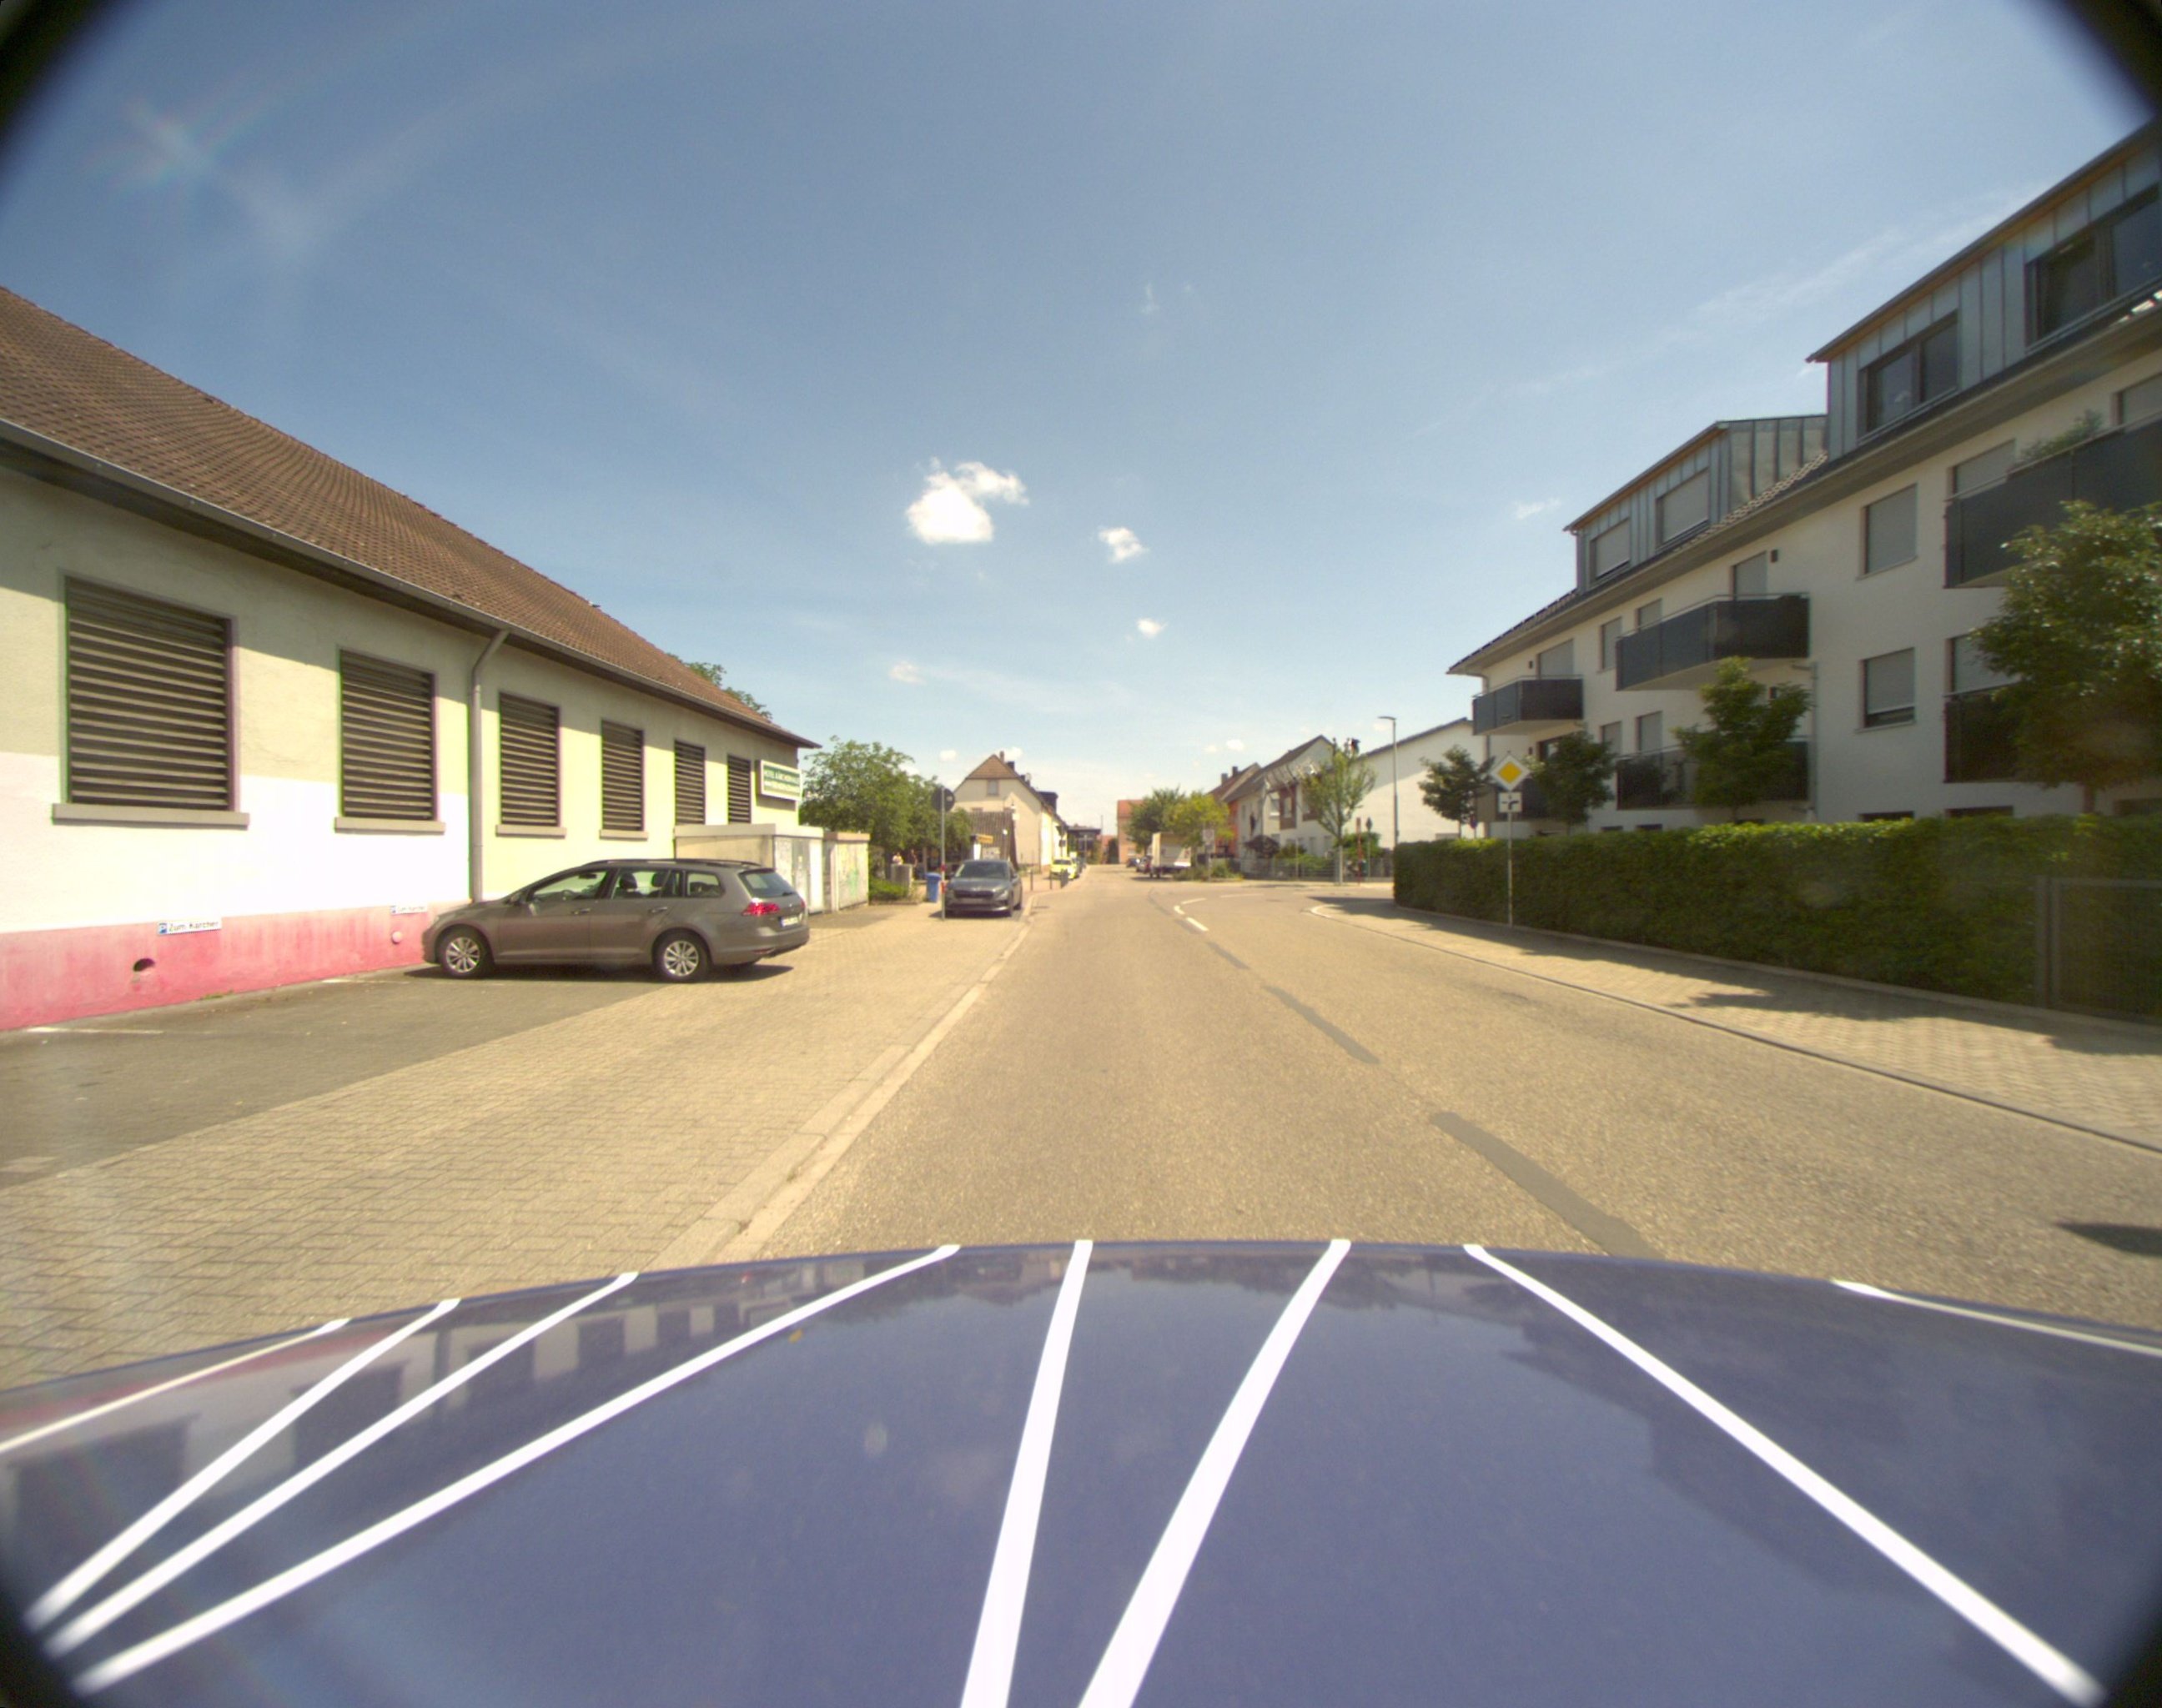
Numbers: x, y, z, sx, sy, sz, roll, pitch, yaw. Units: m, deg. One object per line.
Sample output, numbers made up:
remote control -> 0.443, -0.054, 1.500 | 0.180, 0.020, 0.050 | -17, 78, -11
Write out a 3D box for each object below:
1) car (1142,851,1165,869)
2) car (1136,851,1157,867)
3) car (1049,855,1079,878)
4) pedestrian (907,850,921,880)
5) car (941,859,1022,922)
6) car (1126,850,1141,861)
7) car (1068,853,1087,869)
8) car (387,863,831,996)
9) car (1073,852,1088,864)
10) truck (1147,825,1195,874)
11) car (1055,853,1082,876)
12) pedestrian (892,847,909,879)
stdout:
car -> 6.566, 0.537, 68.965 | 1.720, 1.491, 4.215 | 1, 0, 1
car -> 6.461, 0.460, 75.156 | 1.720, 1.491, 4.215 | 1, 0, 1
car -> -1.069, 0.798, 50.548 | 1.720, 1.390, 4.215 | 3, 0, 2
pedestrian -> -9.448, 0.610, 43.046 | 0.463, 1.710, 0.599 | 0, 1, 43
car -> -2.589, 0.901, 20.614 | 1.632, 1.480, 4.139 | 0, 0, 0
car -> 7.306, 0.202, 105.777 | 1.720, 1.491, 4.215 | 1, 0, 1
car -> -0.374, 0.691, 77.614 | 1.720, 1.491, 4.215 | 3, 0, 2
car -> -5.823, 0.888, 9.793 | 4.537, 1.446, 1.918 | 1, 1, 2
car -> -0.020, 0.541, 100.048 | 1.720, 1.491, 4.215 | 3, 0, 2
truck -> 6.422, -0.335, 55.112 | 2.444, 3.228, 7.035 | 2, 0, -1
car -> -0.861, 0.697, 54.400 | 1.720, 1.491, 4.215 | 3, 0, 2
pedestrian -> -10.064, 0.516, 42.358 | 0.548, 1.778, 0.682 | 0, 1, 43
